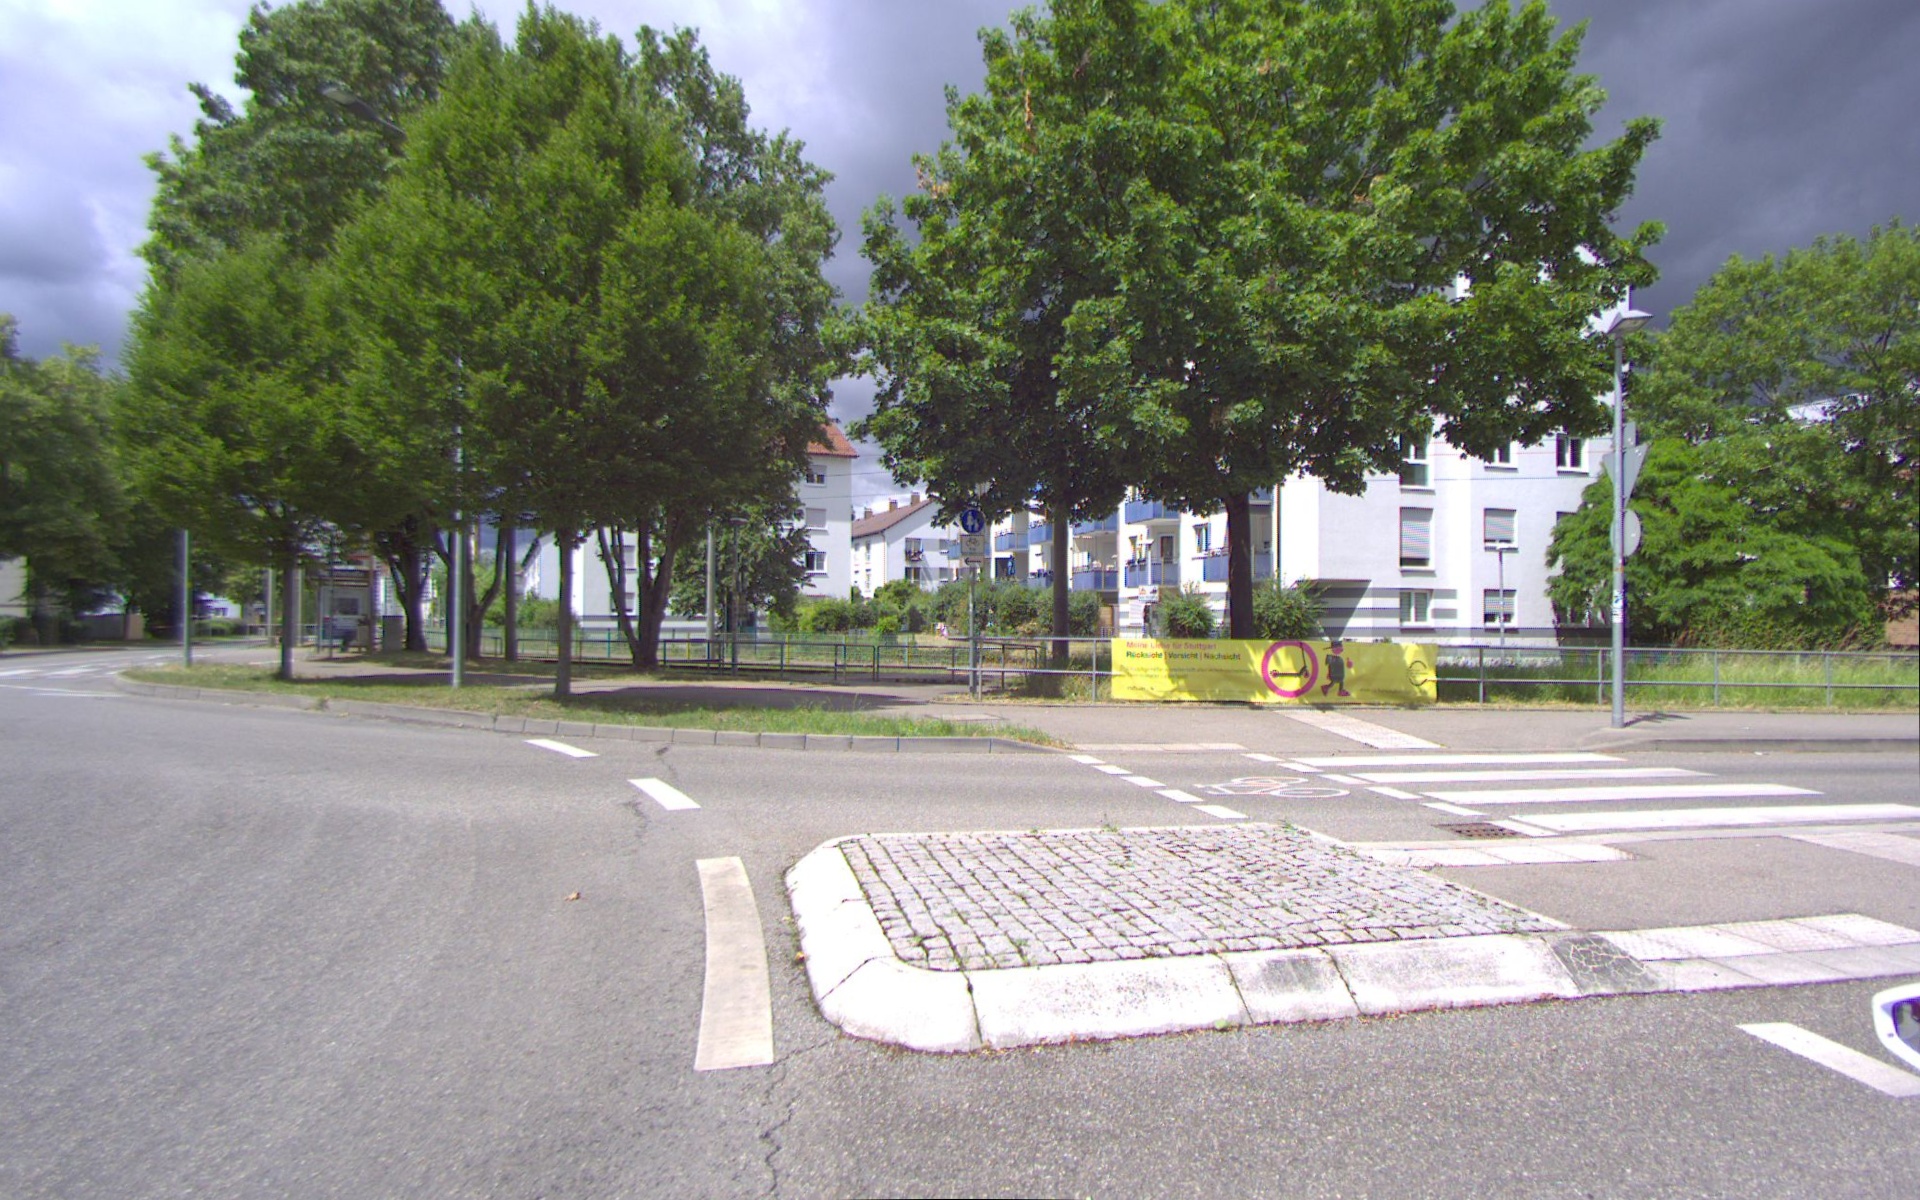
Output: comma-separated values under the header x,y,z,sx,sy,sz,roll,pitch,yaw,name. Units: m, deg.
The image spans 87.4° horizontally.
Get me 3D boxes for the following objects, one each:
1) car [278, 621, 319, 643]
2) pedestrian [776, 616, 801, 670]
x,y,z,sx,sy,sz,roll,pitch,yaw,name
-54.905,2.626,83.410,1.970,1.723,3.981,-1,-1,-21,car
-6.640,1.659,38.932,0.715,2.040,0.980,1,-2,4,pedestrian
